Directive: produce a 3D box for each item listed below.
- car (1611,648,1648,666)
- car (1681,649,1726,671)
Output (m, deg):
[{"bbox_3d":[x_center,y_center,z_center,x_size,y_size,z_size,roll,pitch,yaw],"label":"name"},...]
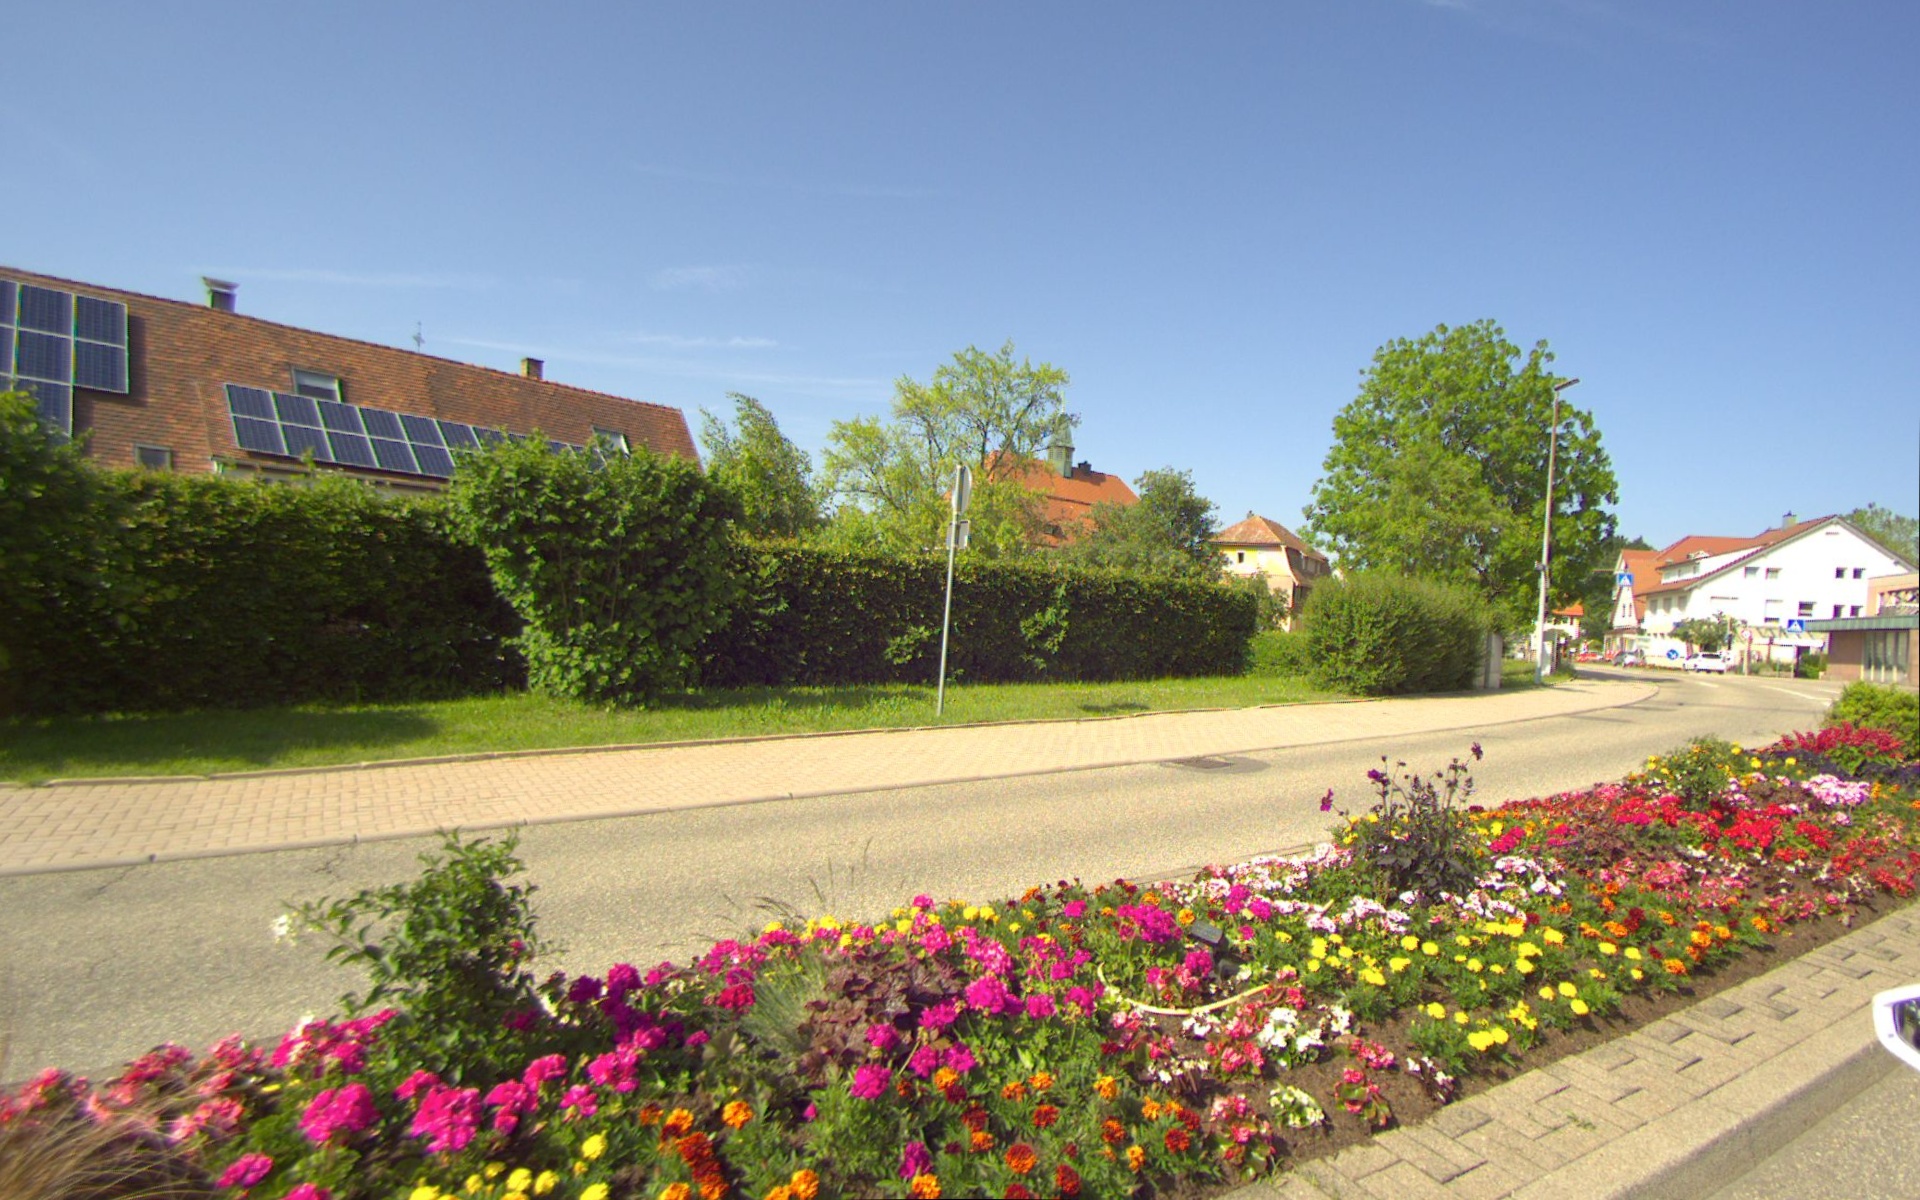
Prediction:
[{"bbox_3d":[58.824,4.993,88.283,1.608,1.438,3.937,1,-2,17],"label":"car"},{"bbox_3d":[52.387,4.243,70.827,1.732,1.442,3.632,1,-2,23],"label":"car"}]
